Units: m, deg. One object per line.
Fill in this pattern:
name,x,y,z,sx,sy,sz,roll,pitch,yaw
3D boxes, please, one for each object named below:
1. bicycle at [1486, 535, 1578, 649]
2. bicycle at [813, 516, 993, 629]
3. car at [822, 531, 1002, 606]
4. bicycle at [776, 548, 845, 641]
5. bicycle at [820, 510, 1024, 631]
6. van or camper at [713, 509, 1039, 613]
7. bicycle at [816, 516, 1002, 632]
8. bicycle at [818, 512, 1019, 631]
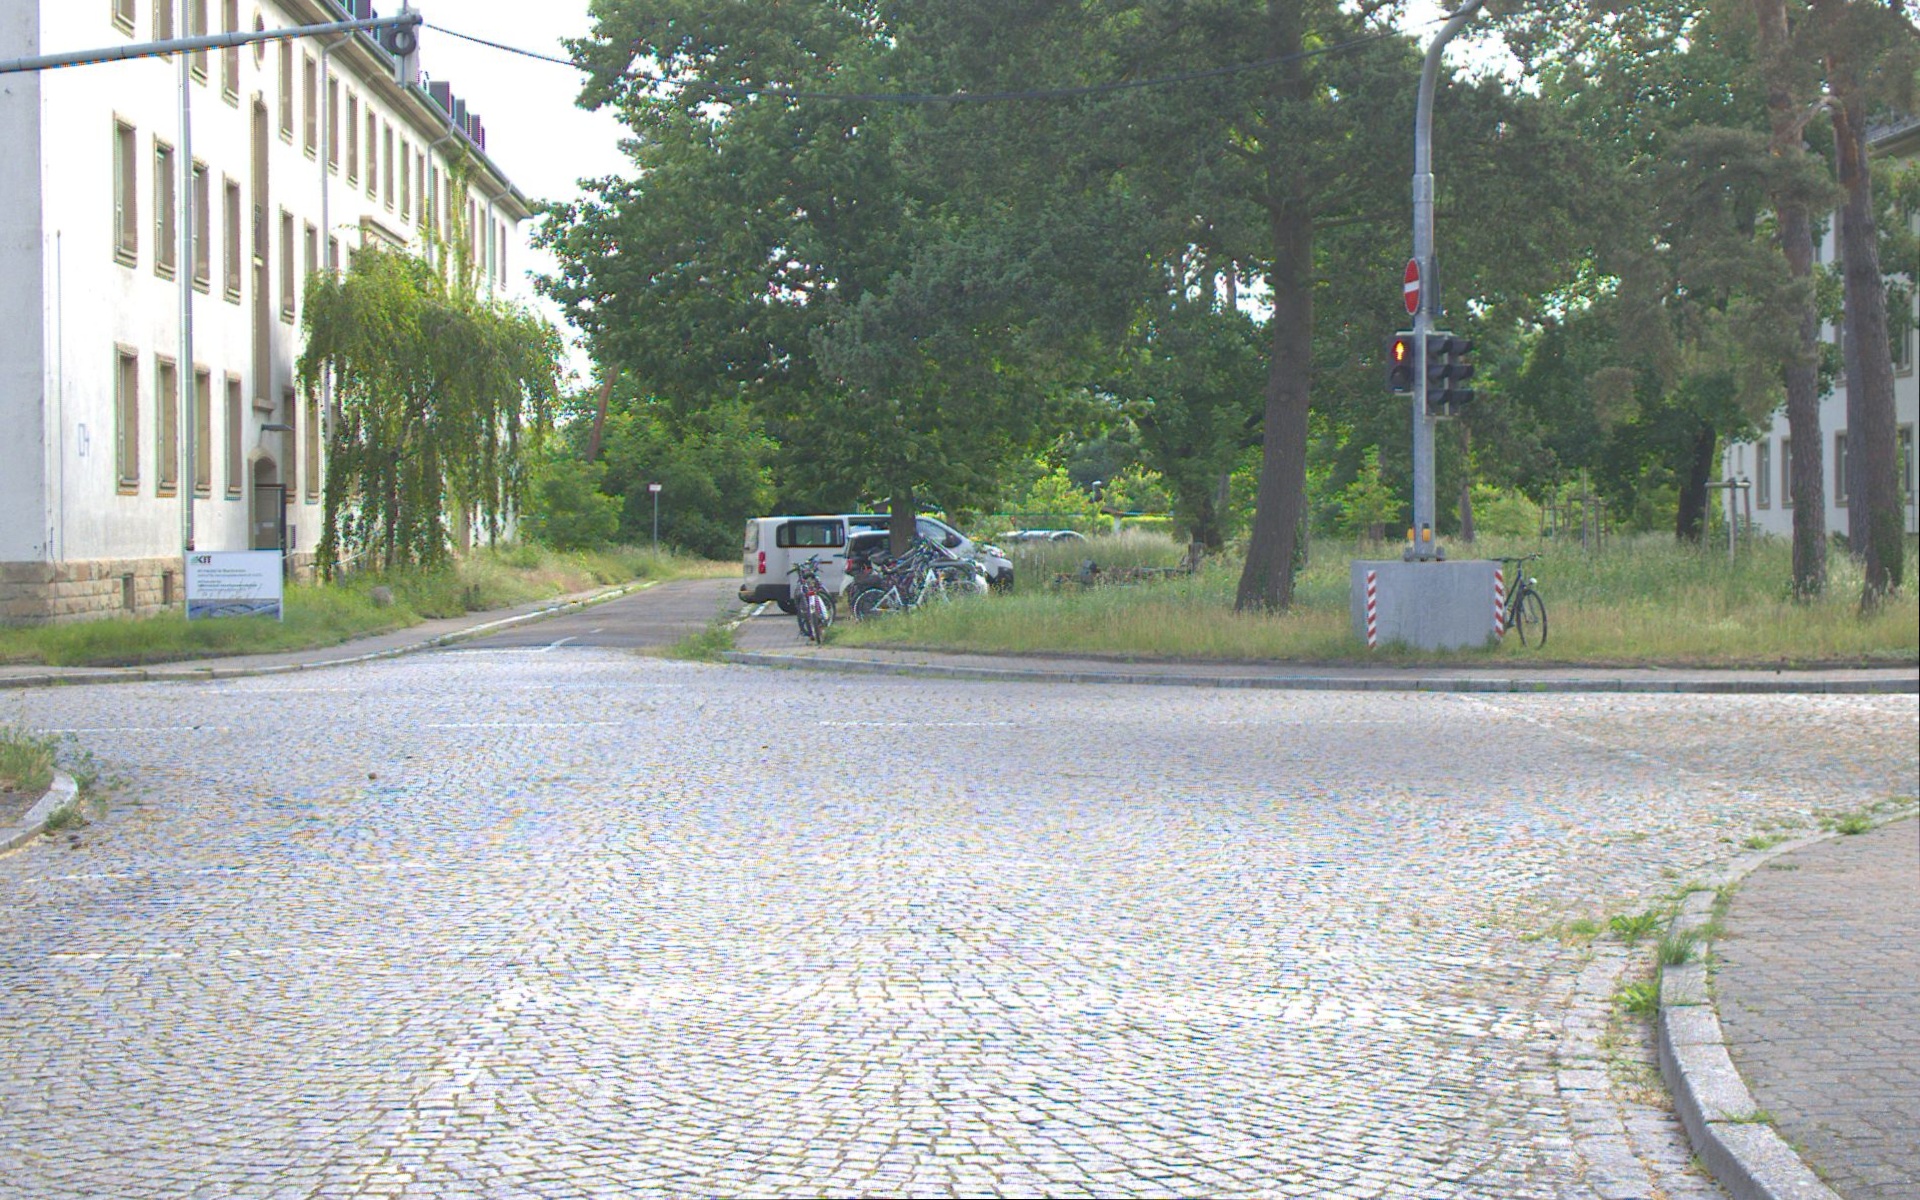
bicycle,6.156,-0.105,37.105,0.724,1.165,2.736,2,1,5
bicycle,-0.903,-0.445,54.851,2.775,1.688,1.120,2,1,0
car,-0.900,-0.588,63.148,3.137,1.349,1.620,0,1,-7
bicycle,-1.920,-0.086,44.452,0.725,1.104,2.462,-5,1,0
bicycle,-0.552,-0.431,48.758,2.775,1.688,1.120,0,1,-7
van or camper,-1.639,-0.777,66.708,6.030,1.942,2.001,-1,1,-15
bicycle,-0.778,-0.404,53.516,2.776,1.688,1.120,2,1,2
bicycle,-0.614,-0.428,49.951,2.775,1.688,1.120,0,1,-9
